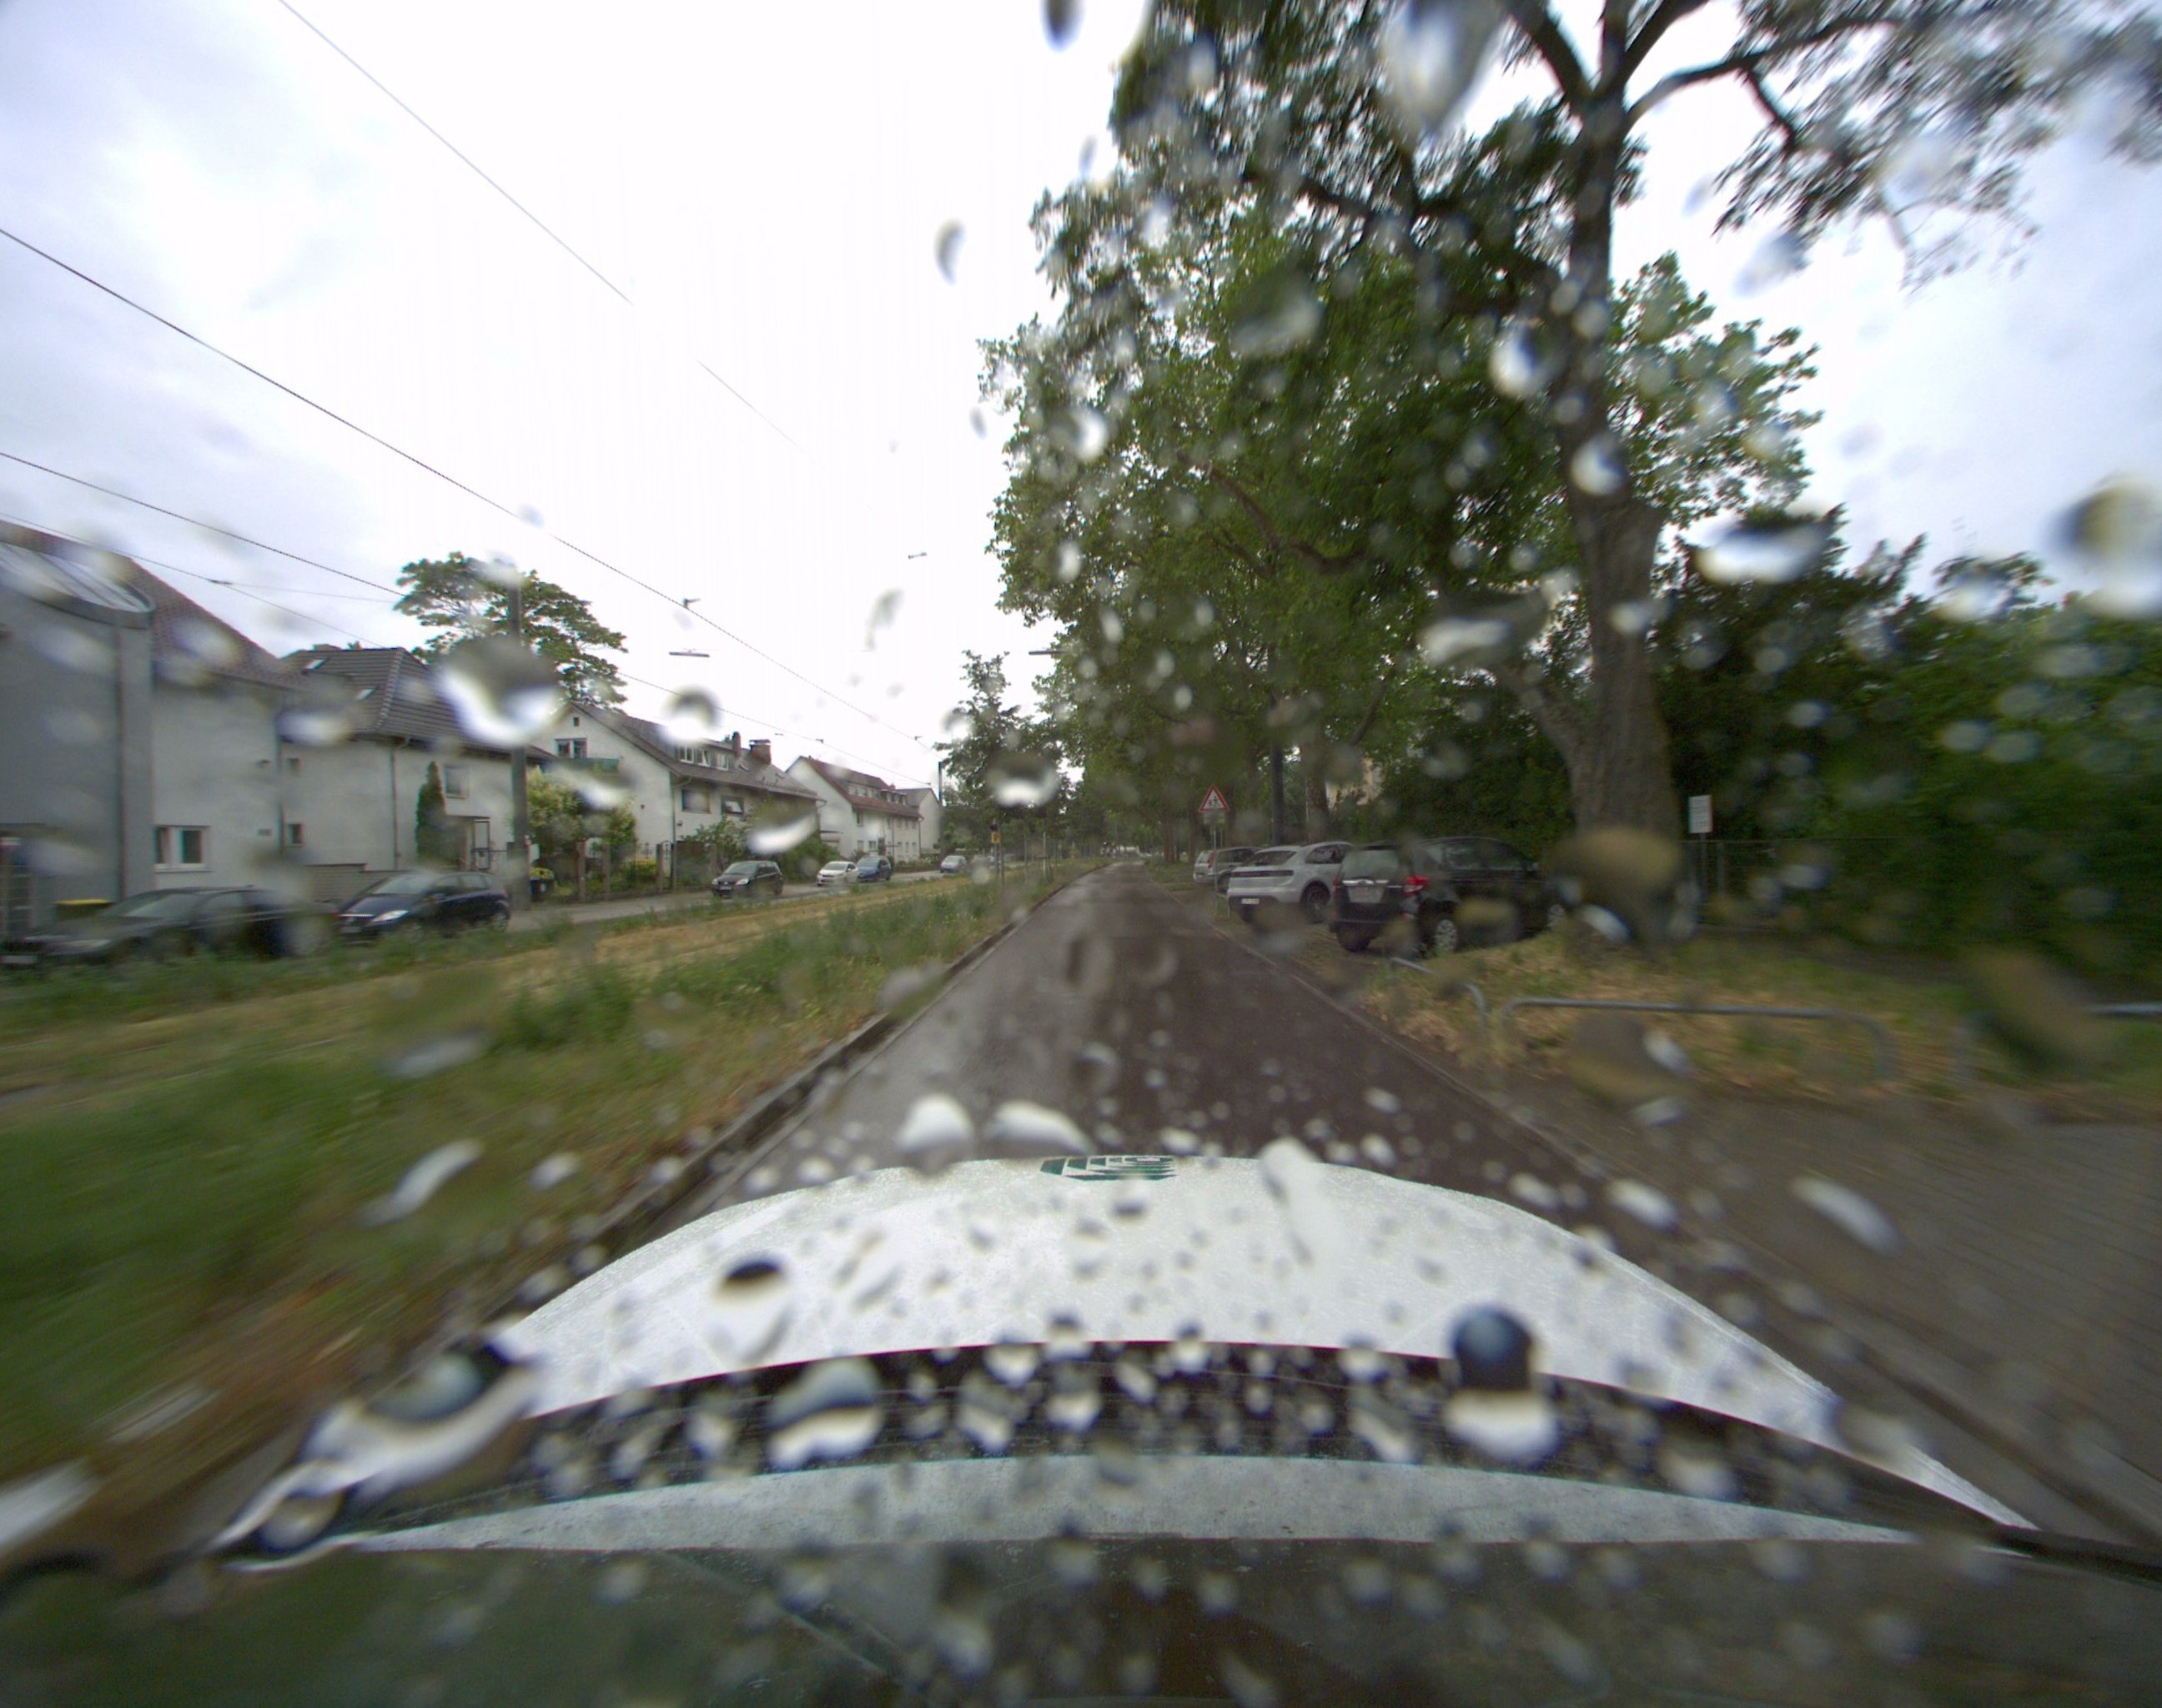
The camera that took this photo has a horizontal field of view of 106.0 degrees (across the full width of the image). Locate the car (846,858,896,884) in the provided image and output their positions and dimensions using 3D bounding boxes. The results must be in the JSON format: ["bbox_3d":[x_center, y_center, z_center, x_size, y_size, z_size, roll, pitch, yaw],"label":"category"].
[{"bbox_3d":[-14.062,1.091,54.710,1.985,1.614,4.417,0,1,3],"label":"car"}]

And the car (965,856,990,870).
[{"bbox_3d":[-11.739,0.982,92.604,1.985,1.488,4.209,0,1,3],"label":"car"}]

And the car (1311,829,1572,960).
[{"bbox_3d":[5.292,0.490,11.854,3.727,1.566,1.603,-3,0,-31],"label":"car"}]

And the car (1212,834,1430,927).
[{"bbox_3d":[5.331,0.498,17.812,4.796,1.668,1.973,-3,0,-35],"label":"car"}]

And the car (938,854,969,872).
[{"bbox_3d":[-12.273,0.850,78.743,1.985,1.581,4.520,0,1,3],"label":"car"}]

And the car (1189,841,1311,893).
[{"bbox_3d":[5.947,0.431,28.785,3.858,1.566,1.612,-3,0,-13],"label":"car"}]

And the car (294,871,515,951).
[{"bbox_3d":[-15.605,1.245,19.091,1.867,1.550,3.871,0,1,1],"label":"car"}]

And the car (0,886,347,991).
[{"bbox_3d":[-15.924,1.357,14.352,1.985,1.350,4.244,0,1,3],"label":"car"}]

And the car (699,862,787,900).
[{"bbox_3d":[-15.034,1.143,36.463,1.985,1.516,4.209,0,1,3],"label":"car"}]

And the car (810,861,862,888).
[{"bbox_3d":[-14.440,1.175,48.200,1.788,1.488,3.600,0,1,3],"label":"car"}]
